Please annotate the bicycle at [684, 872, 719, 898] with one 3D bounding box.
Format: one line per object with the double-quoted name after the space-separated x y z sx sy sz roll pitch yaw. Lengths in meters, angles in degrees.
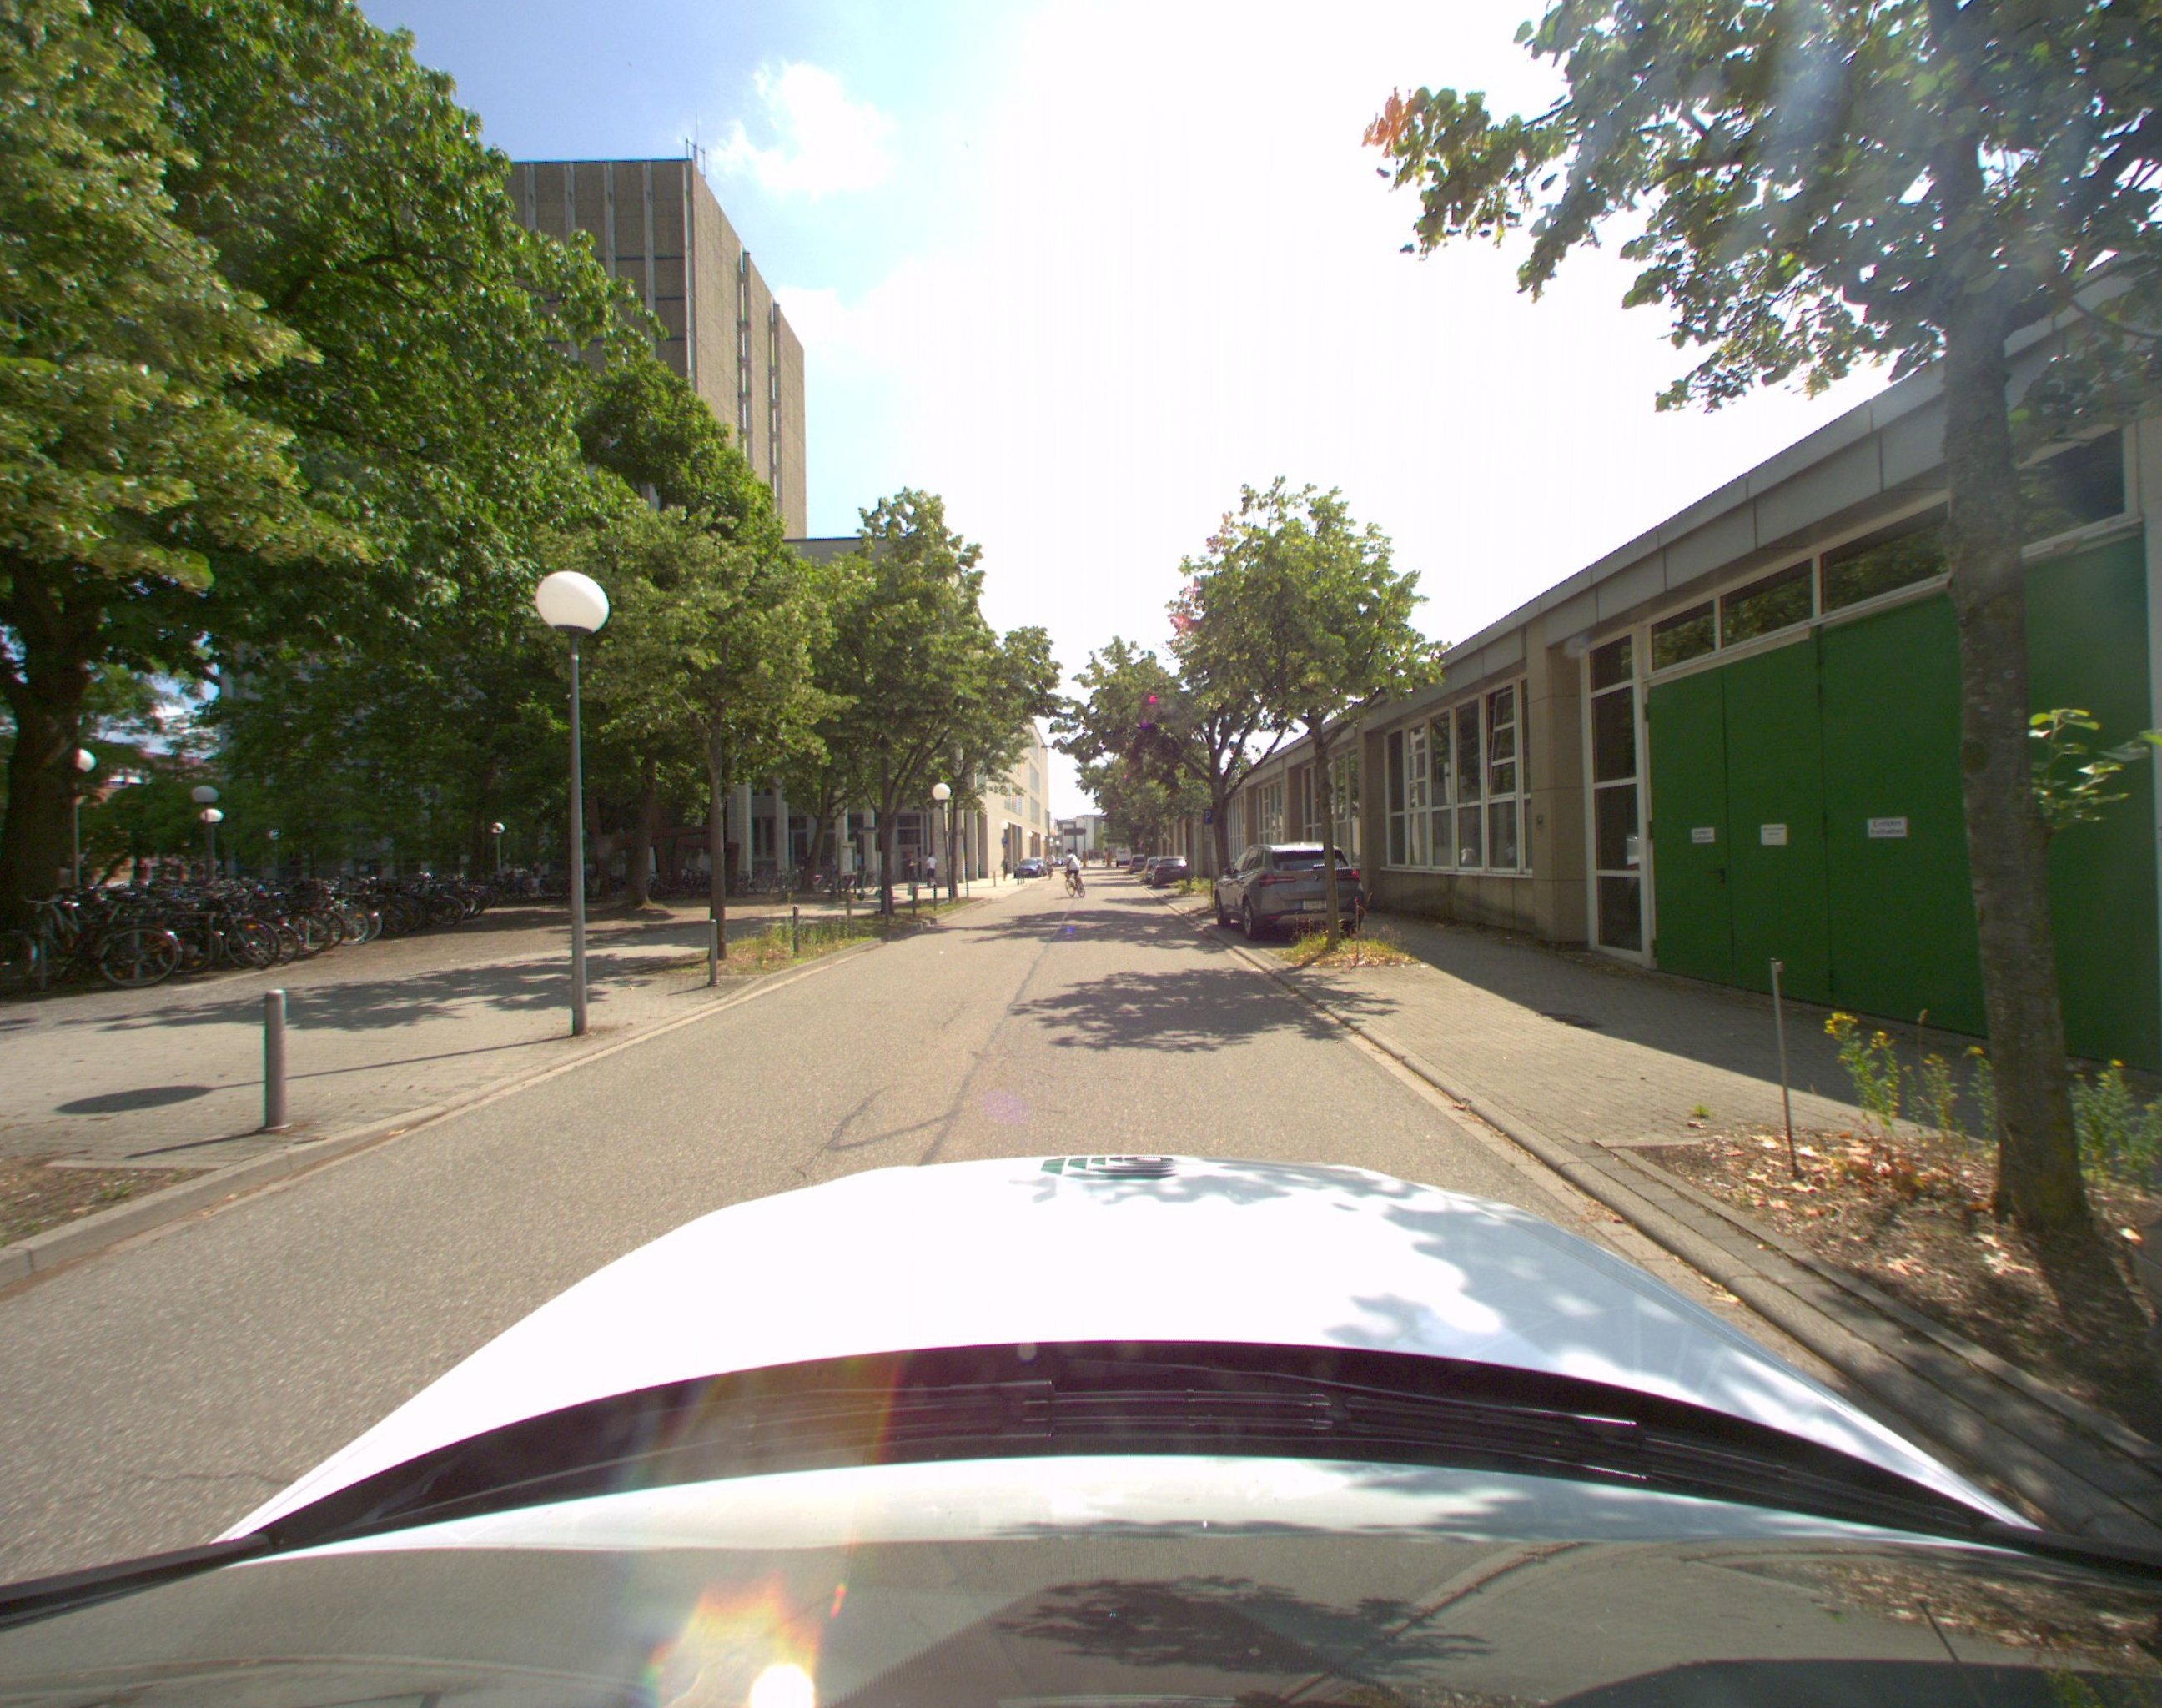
-16.787 1.351 36.097 0.550 1.086 1.973 1 0 1 "bicycle"

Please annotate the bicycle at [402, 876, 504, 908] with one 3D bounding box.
-22.125 1.334 28.736 2.777 1.069 0.734 2 -2 -41 "bicycle"

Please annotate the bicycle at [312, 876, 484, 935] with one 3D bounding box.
-14.503 1.061 17.405 2.766 1.086 0.872 0 0 -41 "bicycle"

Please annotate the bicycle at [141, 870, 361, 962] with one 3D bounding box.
-11.897 0.866 11.766 2.058 1.234 0.804 1 -1 -17 "bicycle"

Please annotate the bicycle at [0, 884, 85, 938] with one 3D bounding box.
-22.705 1.215 17.242 1.972 1.089 0.542 0 0 -28 "bicycle"

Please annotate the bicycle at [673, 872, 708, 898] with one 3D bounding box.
-17.360 1.374 36.260 0.550 1.086 1.973 1 0 1 "bicycle"

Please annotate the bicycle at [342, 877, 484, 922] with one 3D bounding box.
-16.975 1.120 20.776 2.748 1.003 0.872 0 0 -41 "bicycle"

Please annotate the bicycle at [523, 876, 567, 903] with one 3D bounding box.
-23.689 1.547 36.028 0.550 1.086 1.973 1 0 1 "bicycle"

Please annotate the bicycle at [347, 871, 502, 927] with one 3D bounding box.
-16.051 1.061 20.008 2.924 1.220 0.872 0 0 -41 "bicycle"

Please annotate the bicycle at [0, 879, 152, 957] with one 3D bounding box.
-17.539 1.079 13.923 2.069 1.234 0.633 0 0 -34 "bicycle"

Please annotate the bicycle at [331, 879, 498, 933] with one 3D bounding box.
-14.896 1.127 18.298 2.849 1.050 0.872 0 0 -41 "bicycle"

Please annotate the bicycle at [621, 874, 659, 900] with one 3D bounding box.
-19.679 1.445 36.386 0.550 1.086 1.973 1 0 1 "bicycle"

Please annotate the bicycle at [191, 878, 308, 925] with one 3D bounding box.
-21.949 1.236 21.545 2.069 1.132 0.633 -1 0 -34 "bicycle"

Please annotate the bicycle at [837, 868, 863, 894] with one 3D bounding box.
-10.226 1.162 36.071 0.550 1.086 1.973 1 0 1 "bicycle"

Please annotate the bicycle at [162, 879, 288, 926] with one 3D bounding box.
-21.626 1.224 20.639 2.068 1.132 0.633 2 -1 -34 "bicycle"

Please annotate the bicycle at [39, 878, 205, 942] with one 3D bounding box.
-19.298 1.106 16.462 2.069 1.158 0.633 0 0 -34 "bicycle"

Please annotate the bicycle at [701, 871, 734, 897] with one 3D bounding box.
-16.089 1.331 36.101 0.550 1.086 1.973 1 0 1 "bicycle"

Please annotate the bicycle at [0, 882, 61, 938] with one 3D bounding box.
-22.056 1.135 16.298 1.972 1.089 0.542 0 0 -28 "bicycle"

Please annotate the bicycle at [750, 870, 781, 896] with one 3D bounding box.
-13.989 1.275 36.201 0.550 1.086 1.973 1 0 1 "bicycle"

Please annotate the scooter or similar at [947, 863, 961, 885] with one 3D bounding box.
-7.220 1.112 46.322 0.452 1.223 1.551 -1 0 5 "scooter or similar"

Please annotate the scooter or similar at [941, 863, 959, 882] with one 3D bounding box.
-8.641 1.219 53.654 0.529 1.210 1.541 -1 -1 -36 "scooter or similar"

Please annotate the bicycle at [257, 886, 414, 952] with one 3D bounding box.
-12.900 1.097 14.169 1.897 1.008 0.671 0 0 -29 "bicycle"

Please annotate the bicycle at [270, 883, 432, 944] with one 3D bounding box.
-13.582 1.090 15.242 2.160 1.008 0.671 0 0 -30 "bicycle"

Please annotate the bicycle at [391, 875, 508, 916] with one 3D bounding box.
-18.748 1.207 24.229 2.698 1.076 0.872 0 0 -41 "bicycle"

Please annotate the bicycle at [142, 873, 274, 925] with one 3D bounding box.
-20.952 1.063 19.607 2.069 1.132 0.633 -1 1 -34 "bicycle"

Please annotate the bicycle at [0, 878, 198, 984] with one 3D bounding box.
-11.398 0.859 9.306 1.777 1.132 0.456 0 0 -17 "bicycle"

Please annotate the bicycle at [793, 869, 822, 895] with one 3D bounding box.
-12.270 1.240 36.585 0.550 1.086 1.973 1 0 1 "bicycle"

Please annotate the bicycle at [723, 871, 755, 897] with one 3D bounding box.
-15.242 1.315 36.314 0.550 1.086 1.973 1 0 1 "bicycle"

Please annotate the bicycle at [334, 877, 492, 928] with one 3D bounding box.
-15.496 1.087 18.972 2.798 1.015 0.872 0 0 -41 "bicycle"

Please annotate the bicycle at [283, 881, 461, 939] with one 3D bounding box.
-14.183 1.092 16.408 2.665 1.008 0.670 0 0 -41 "bicycle"

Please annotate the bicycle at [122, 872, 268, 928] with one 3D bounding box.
-19.410 0.980 17.906 2.069 1.132 0.633 0 0 -34 "bicycle"

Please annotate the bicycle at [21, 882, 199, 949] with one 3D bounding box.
-18.350 1.128 15.467 2.069 1.132 0.633 0 0 -34 "bicycle"

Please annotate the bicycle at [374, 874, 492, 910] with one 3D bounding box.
-21.328 1.239 26.863 2.976 1.126 0.734 2 -2 -41 "bicycle"

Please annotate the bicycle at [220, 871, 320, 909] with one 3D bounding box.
-25.188 1.130 25.353 2.068 1.132 0.633 2 -1 -34 "bicycle"

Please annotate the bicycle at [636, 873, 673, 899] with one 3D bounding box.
-18.903 1.414 36.157 0.550 1.086 1.973 1 0 1 "bicycle"

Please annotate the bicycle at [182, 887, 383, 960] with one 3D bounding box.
-12.502 1.062 12.855 2.160 1.008 0.671 0 0 -29 "bicycle"

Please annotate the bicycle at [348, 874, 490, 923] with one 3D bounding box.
-17.595 1.146 21.725 2.899 1.178 0.872 0 0 -41 "bicycle"

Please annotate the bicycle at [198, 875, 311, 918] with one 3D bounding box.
-22.669 1.149 22.406 2.068 1.132 0.633 1 -1 -34 "bicycle"

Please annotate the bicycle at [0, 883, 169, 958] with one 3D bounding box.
-17.906 1.154 14.526 2.068 1.234 0.633 1 0 -34 "bicycle"

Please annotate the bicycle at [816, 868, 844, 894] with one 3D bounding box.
-11.169 1.196 36.276 0.550 1.086 1.973 1 0 1 "bicycle"

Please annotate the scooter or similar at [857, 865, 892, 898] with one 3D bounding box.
-7.671 1.004 30.288 0.335 1.176 1.337 -1 -1 36 "scooter or similar"

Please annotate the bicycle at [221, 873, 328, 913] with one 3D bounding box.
-23.297 1.130 23.584 2.068 1.132 0.633 2 -2 -34 "bicycle"

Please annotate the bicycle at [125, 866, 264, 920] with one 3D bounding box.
-20.359 0.867 18.771 2.069 1.132 0.633 -1 1 -34 "bicycle"

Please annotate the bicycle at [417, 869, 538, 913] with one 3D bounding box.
-19.567 1.157 26.460 3.099 1.297 0.872 0 0 -41 "bicycle"

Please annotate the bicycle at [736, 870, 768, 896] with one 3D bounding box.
-14.595 1.291 36.180 0.550 1.086 1.973 1 0 1 "bicycle"

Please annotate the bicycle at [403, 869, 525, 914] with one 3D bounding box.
-19.129 1.131 25.309 2.949 1.287 0.872 0 0 -41 "bicycle"

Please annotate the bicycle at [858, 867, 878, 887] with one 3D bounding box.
-11.651 1.260 44.613 0.463 1.014 1.868 0 2 5 "bicycle"

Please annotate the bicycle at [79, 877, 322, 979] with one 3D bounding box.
-11.623 0.945 10.846 2.058 1.234 0.804 0 -1 -17 "bicycle"
